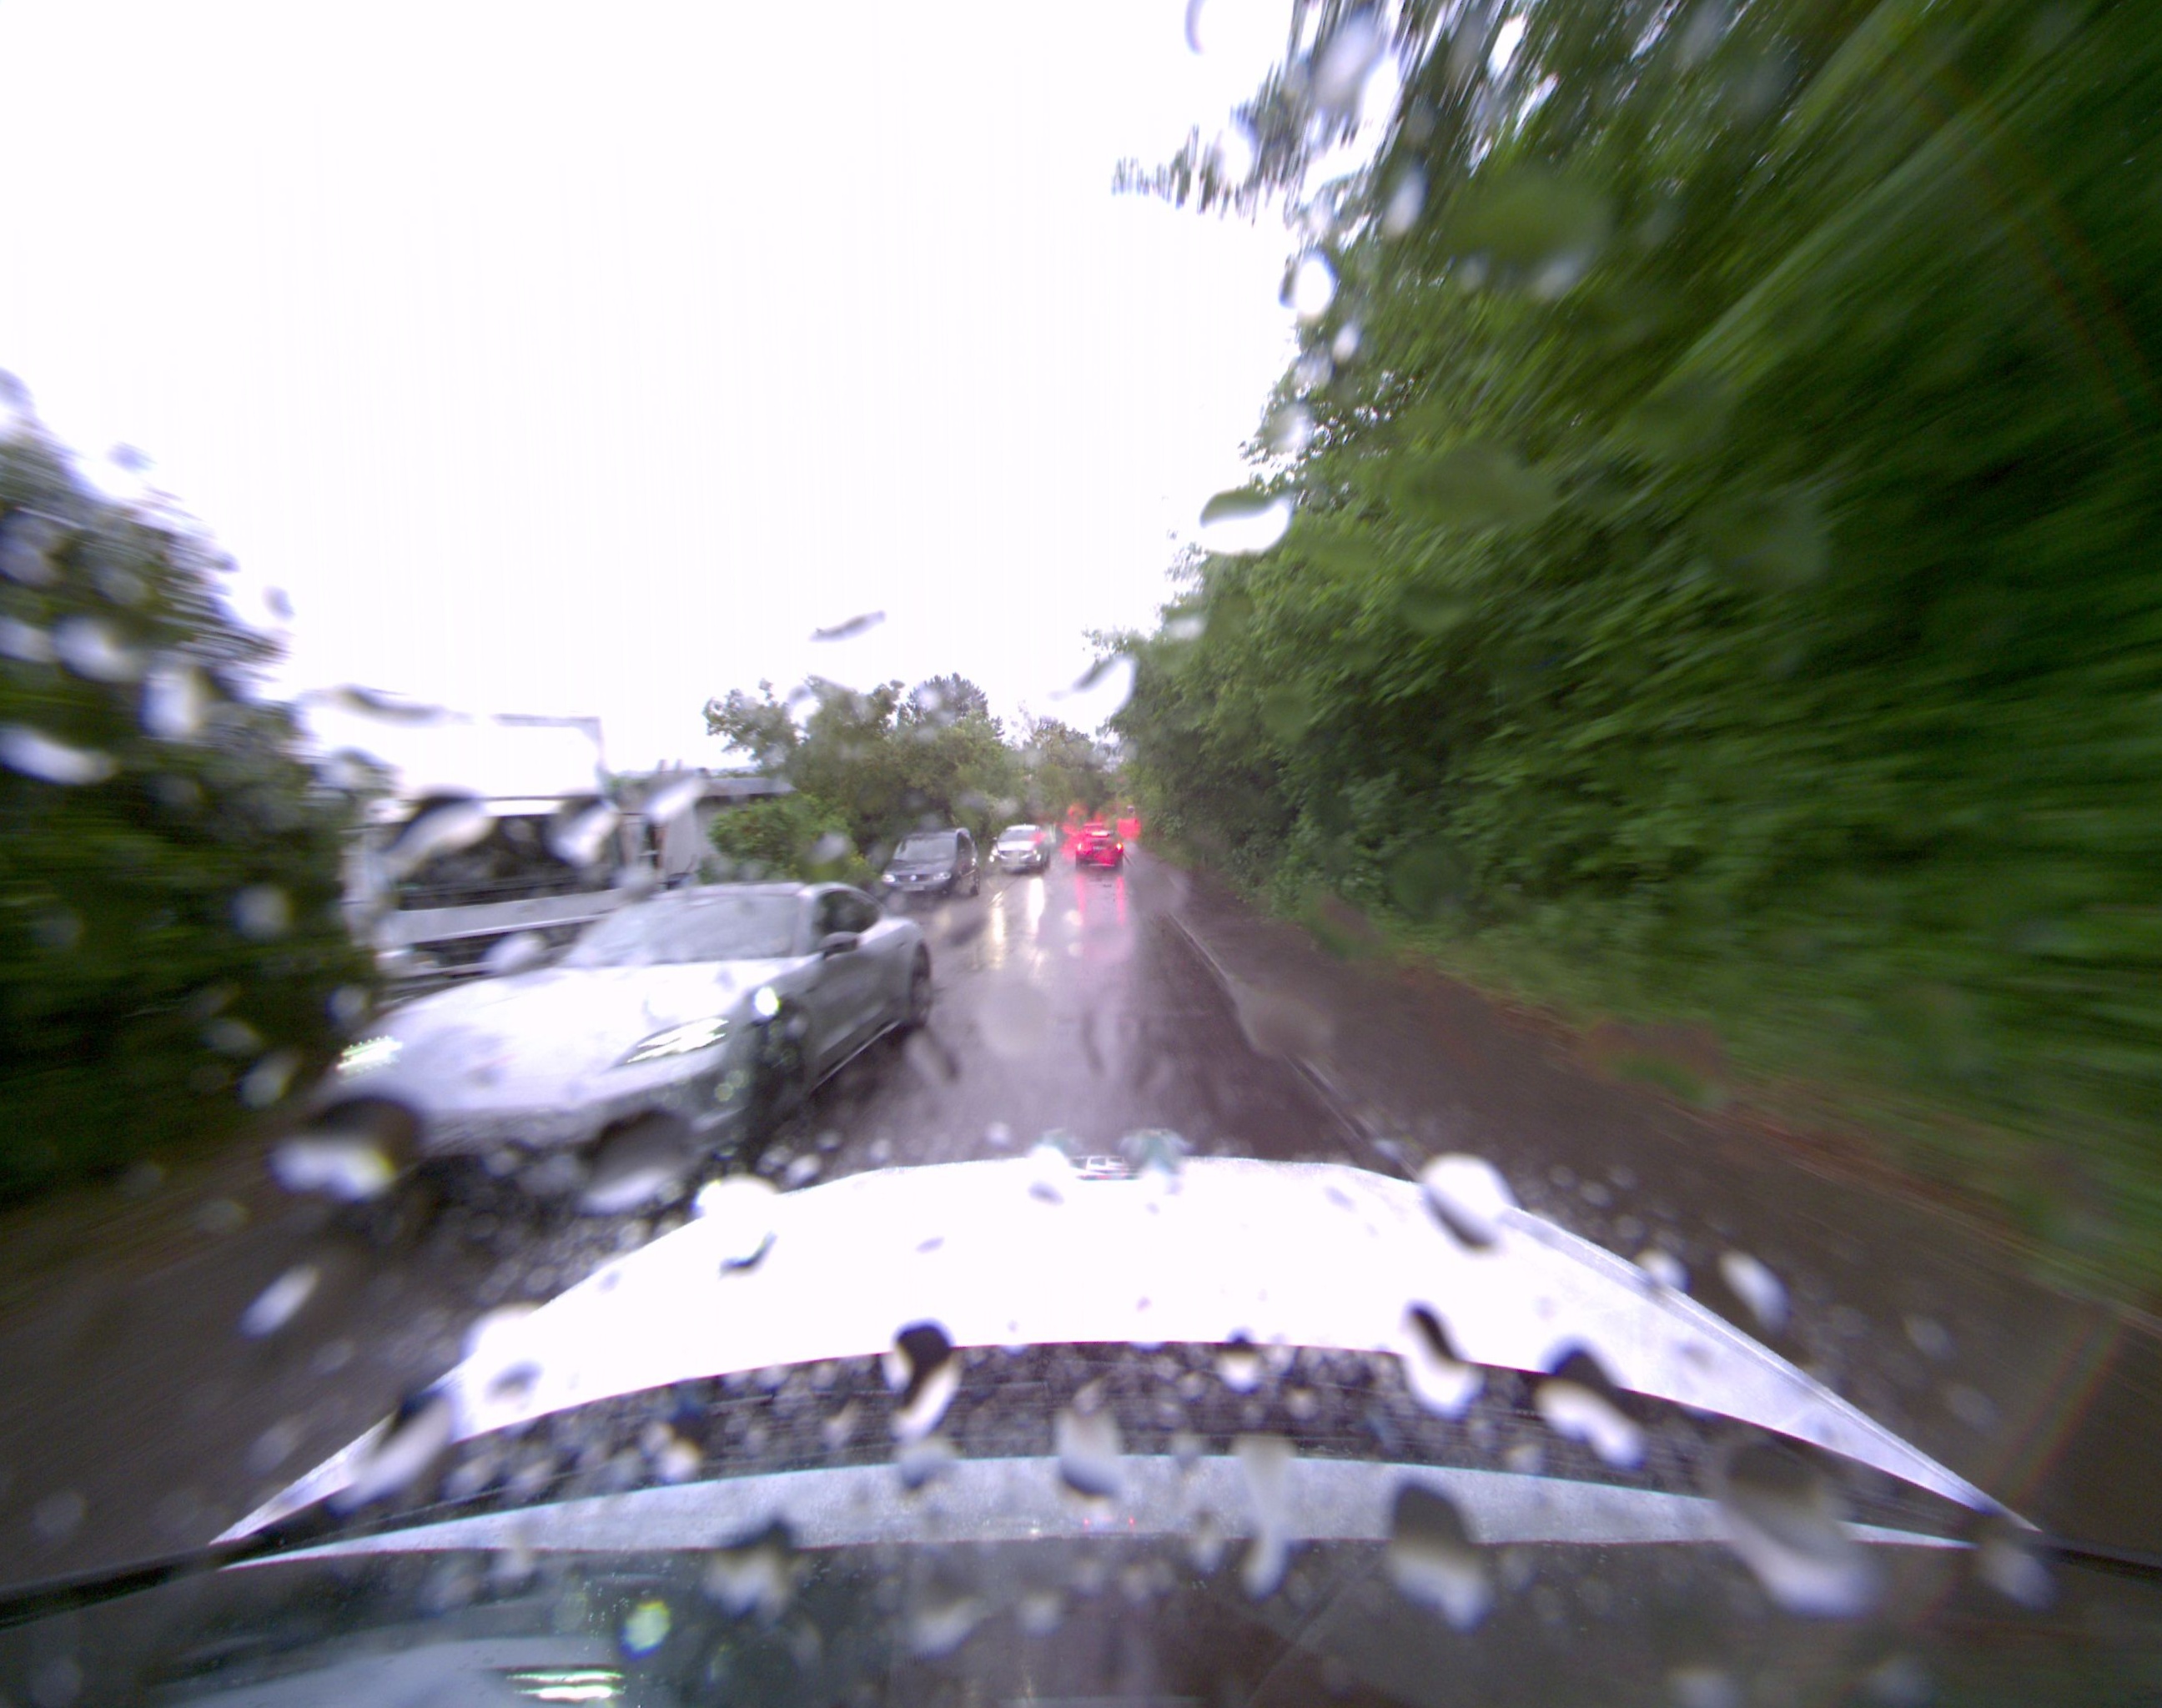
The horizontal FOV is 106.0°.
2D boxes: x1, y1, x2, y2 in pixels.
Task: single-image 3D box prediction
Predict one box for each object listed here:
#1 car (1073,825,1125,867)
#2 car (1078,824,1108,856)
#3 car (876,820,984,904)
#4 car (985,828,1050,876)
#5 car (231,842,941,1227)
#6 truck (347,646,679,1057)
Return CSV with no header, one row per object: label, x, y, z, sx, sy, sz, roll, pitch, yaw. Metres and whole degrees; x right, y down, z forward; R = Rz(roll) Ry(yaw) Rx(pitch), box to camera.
car,0.629,-0.313,31.110,1.695,1.450,3.997,-2,1,-2
car,0.761,-0.854,52.236,1.857,1.744,3.998,-1,-3,0
car,-3.568,0.121,20.048,1.683,1.782,4.235,-2,1,2
car,-2.257,-0.127,30.073,2.041,1.600,4.230,0,2,0
car,-2.473,0.870,5.681,1.933,1.522,4.581,-2,-3,3
truck,-8.381,-0.217,11.410,2.688,3.809,8.036,1,2,-43
